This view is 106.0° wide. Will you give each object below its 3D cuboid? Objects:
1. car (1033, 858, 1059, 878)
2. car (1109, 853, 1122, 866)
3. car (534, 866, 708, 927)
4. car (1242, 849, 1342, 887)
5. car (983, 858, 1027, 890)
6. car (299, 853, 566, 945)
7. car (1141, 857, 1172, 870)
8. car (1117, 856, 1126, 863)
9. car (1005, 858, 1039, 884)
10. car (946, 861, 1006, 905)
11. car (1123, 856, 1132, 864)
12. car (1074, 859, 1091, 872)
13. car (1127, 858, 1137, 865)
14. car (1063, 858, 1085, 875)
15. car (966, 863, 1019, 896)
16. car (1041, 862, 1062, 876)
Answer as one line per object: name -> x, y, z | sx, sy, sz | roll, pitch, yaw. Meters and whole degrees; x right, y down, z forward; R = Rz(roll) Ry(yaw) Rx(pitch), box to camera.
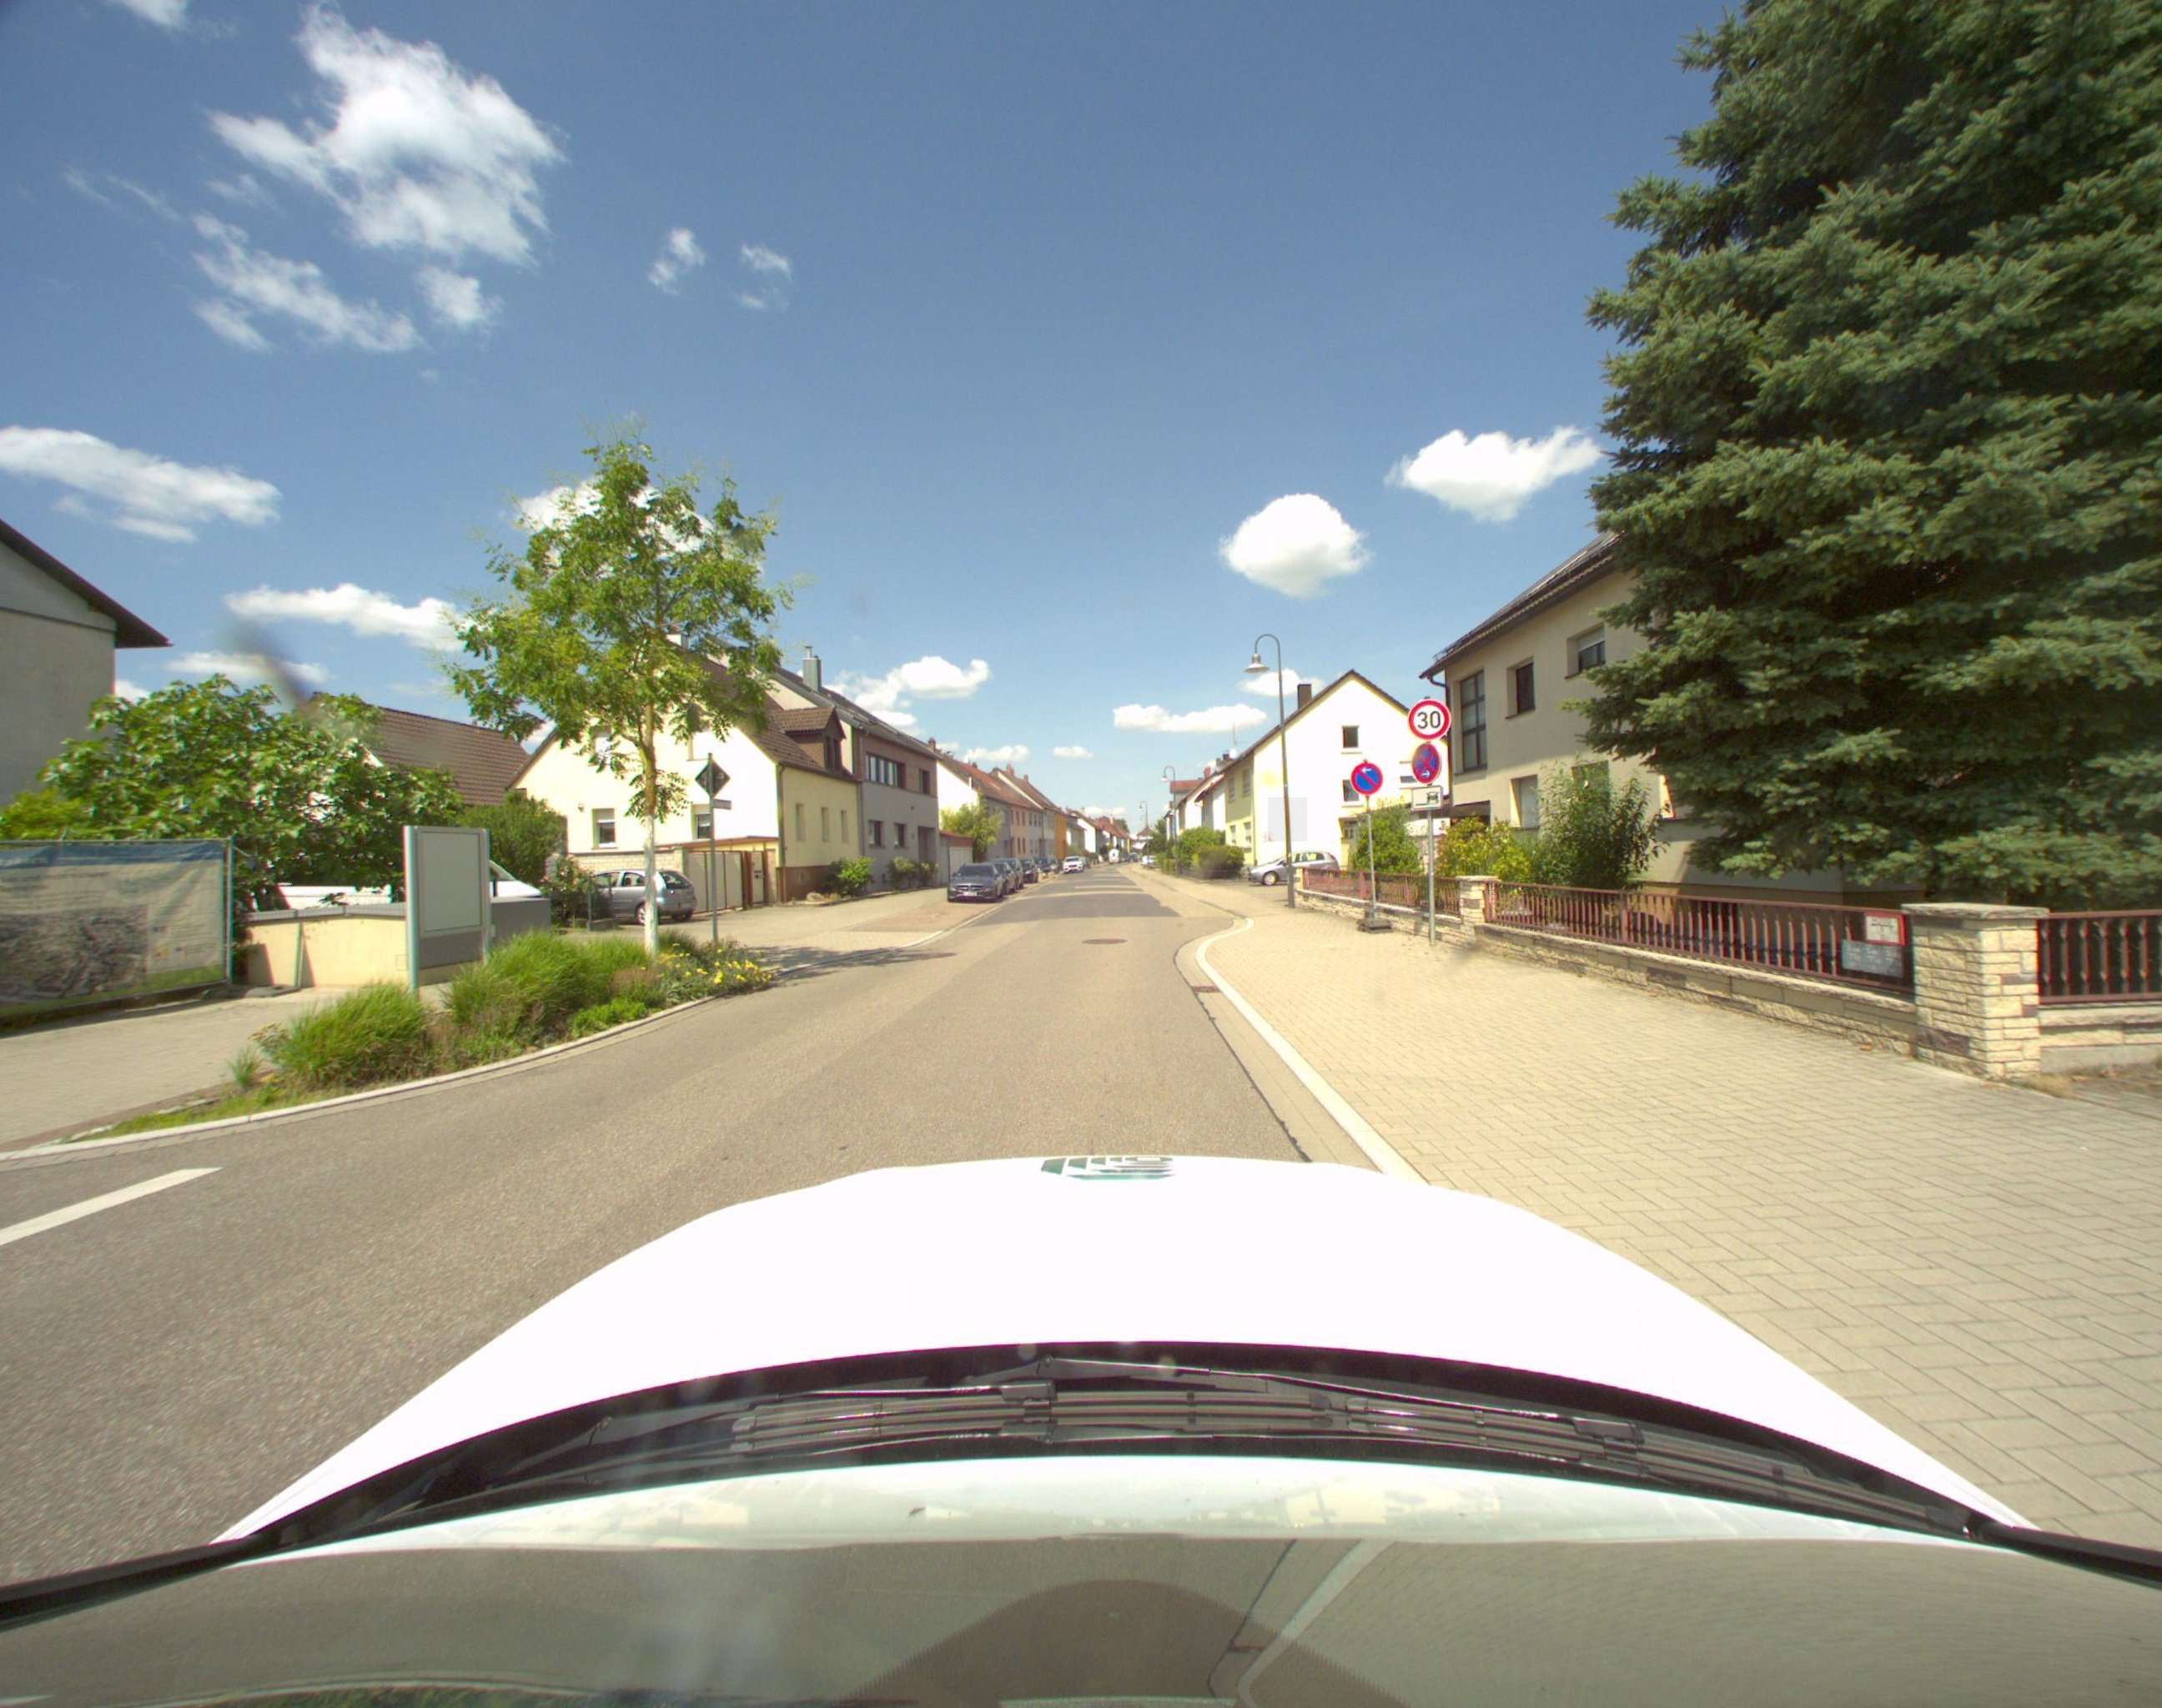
car -> -2.835, 1.169, 67.626 | 1.803, 1.609, 4.002 | 0, 0, 2
car -> 6.408, 0.998, 150.576 | 2.035, 2.312, 3.777 | 0, -1, 6
car -> -11.892, 1.074, 21.194 | 3.507, 1.471, 1.795 | 0, 0, 6
car -> 9.300, 0.618, 36.107 | 3.971, 1.473, 1.747 | -2, 0, 2
car -> -3.966, 1.015, 43.171 | 1.772, 1.609, 4.002 | 0, 0, 2
car -> -13.362, 0.885, 16.966 | 3.970, 1.800, 2.002 | 0, 0, 3
car -> 8.912, 1.091, 96.333 | 3.509, 1.464, 1.629 | 0, -1, 2
car -> 8.633, 1.205, 172.472 | 1.683, 1.504, 3.777 | 0, -1, 6
car -> -3.790, 1.097, 52.857 | 1.772, 1.609, 4.002 | 0, 0, 2
car -> -4.025, 1.069, 31.863 | 1.811, 1.433, 4.138 | 2, 1, -1
car -> 10.233, 1.309, 179.907 | 1.683, 1.660, 3.777 | 0, -1, 6
car -> 0.195, 1.428, 101.869 | 1.841, 1.659, 4.005 | 0, 0, 5
car -> 9.882, 1.486, 157.378 | 1.683, 1.341, 3.777 | 0, -1, 6
car -> -0.641, 1.232, 80.731 | 1.841, 1.659, 4.005 | 0, 0, 5
car -> -3.990, 1.122, 37.493 | 1.809, 1.434, 4.142 | 0, 0, 2
car -> -2.870, 1.420, 79.807 | 1.664, 1.336, 3.727 | 0, 0, 5
